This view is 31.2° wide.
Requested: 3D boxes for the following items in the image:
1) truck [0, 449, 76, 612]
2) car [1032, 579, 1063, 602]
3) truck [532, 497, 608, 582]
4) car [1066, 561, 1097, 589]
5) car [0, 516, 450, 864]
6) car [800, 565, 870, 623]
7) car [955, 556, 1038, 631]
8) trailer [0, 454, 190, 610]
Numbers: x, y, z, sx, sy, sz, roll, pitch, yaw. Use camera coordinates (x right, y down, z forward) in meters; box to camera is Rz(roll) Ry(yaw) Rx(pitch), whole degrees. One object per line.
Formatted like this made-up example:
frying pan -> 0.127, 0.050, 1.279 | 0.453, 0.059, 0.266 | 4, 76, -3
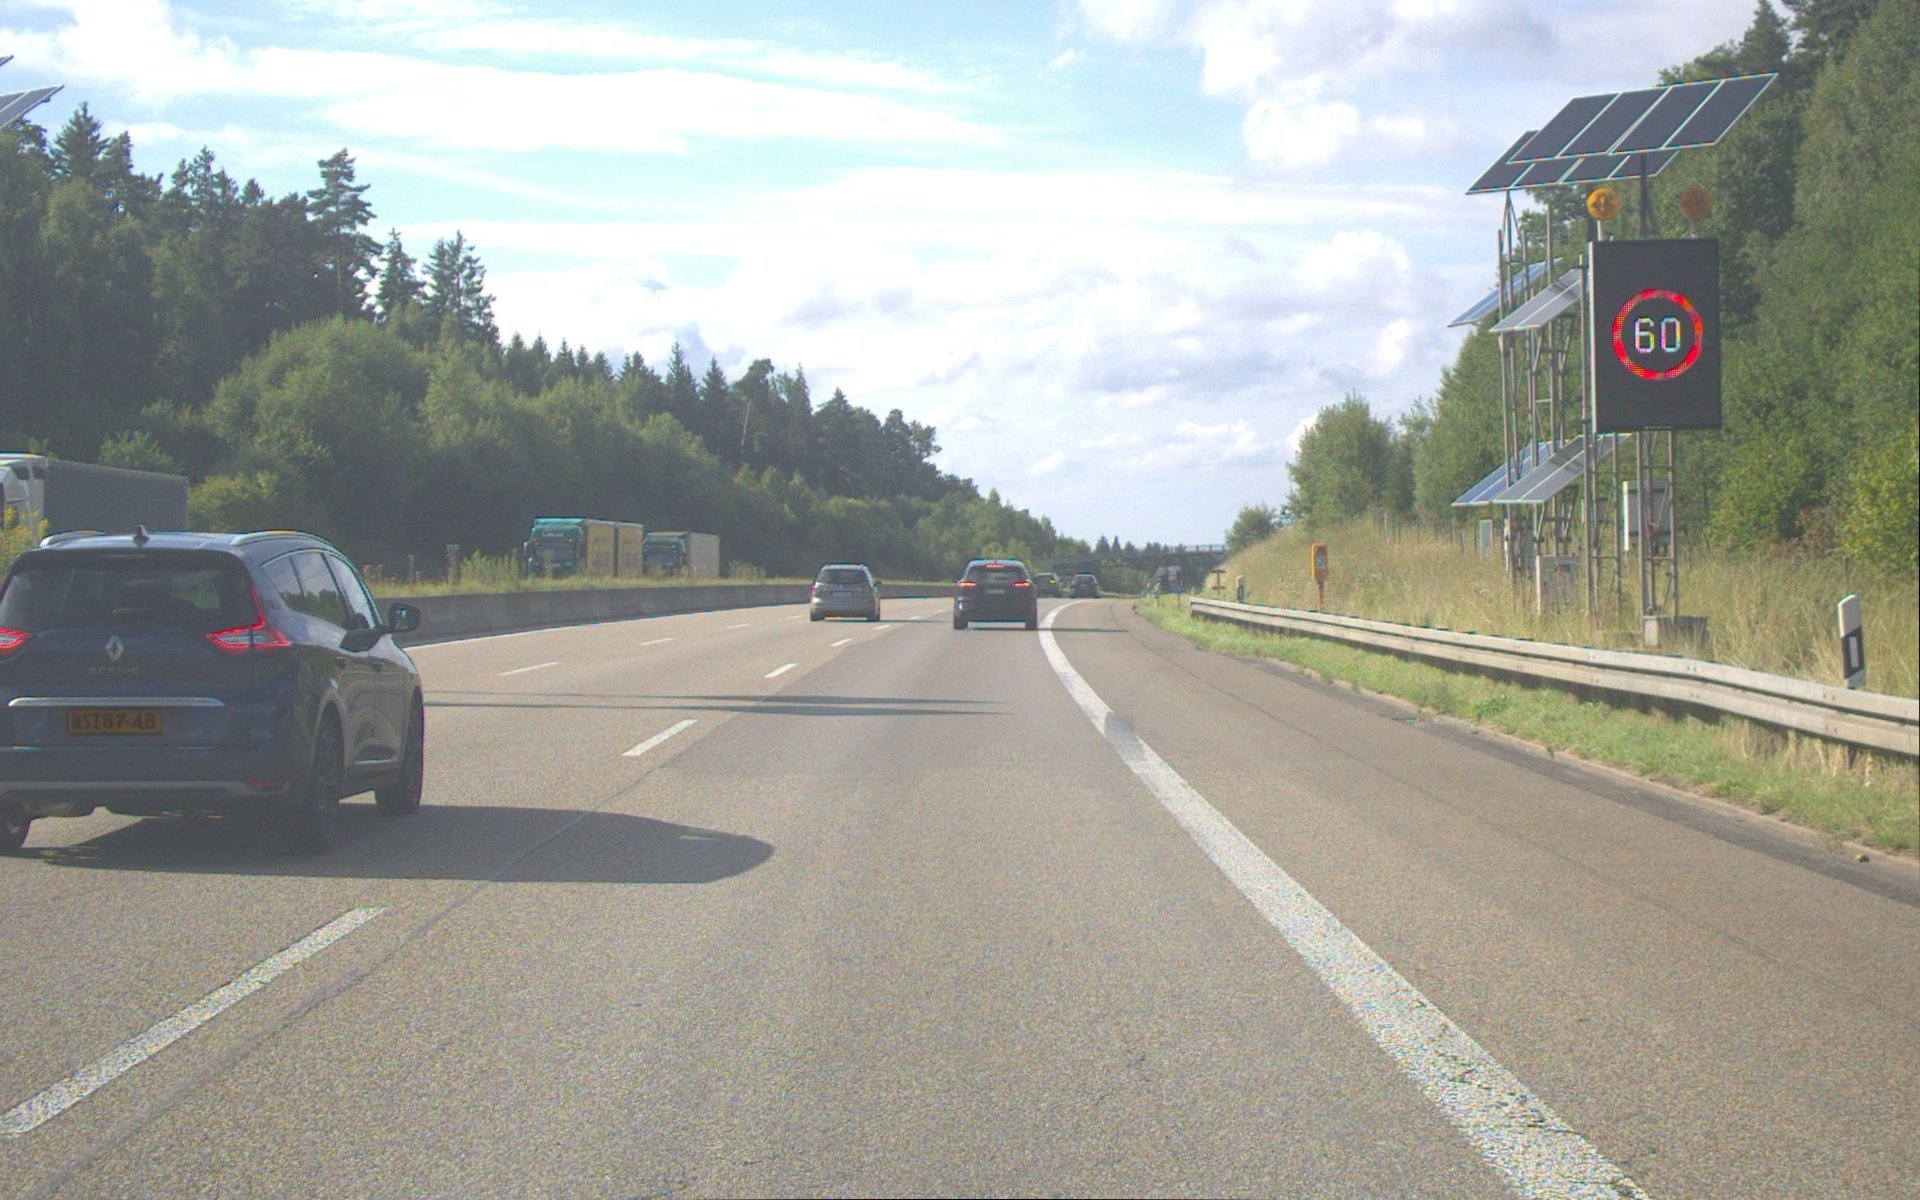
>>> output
truck -> -22.748, -1.618, 80.996 | 2.279, 3.716, 5.532 | 0, 1, 1
car -> 5.952, -0.657, 233.877 | 1.874, 1.492, 3.879 | 1, 1, 5
truck -> -18.933, -2.924, 167.229 | 2.649, 4.072, 6.415 | 0, 1, 3
car -> 7.717, -1.611, 218.208 | 1.812, 1.700, 4.000 | 0, 1, 0
car -> -4.139, 0.419, 19.240 | 1.993, 1.701, 4.529 | 1, 1, -1
car -> -3.403, -0.178, 93.875 | 1.873, 1.492, 3.880 | 1, 1, -2
car -> 0.885, -0.180, 80.776 | 1.874, 1.669, 3.890 | 1, 1, 2
trailer -> -22.580, -1.686, 88.499 | 2.279, 3.716, 13.275 | 0, 1, 1
